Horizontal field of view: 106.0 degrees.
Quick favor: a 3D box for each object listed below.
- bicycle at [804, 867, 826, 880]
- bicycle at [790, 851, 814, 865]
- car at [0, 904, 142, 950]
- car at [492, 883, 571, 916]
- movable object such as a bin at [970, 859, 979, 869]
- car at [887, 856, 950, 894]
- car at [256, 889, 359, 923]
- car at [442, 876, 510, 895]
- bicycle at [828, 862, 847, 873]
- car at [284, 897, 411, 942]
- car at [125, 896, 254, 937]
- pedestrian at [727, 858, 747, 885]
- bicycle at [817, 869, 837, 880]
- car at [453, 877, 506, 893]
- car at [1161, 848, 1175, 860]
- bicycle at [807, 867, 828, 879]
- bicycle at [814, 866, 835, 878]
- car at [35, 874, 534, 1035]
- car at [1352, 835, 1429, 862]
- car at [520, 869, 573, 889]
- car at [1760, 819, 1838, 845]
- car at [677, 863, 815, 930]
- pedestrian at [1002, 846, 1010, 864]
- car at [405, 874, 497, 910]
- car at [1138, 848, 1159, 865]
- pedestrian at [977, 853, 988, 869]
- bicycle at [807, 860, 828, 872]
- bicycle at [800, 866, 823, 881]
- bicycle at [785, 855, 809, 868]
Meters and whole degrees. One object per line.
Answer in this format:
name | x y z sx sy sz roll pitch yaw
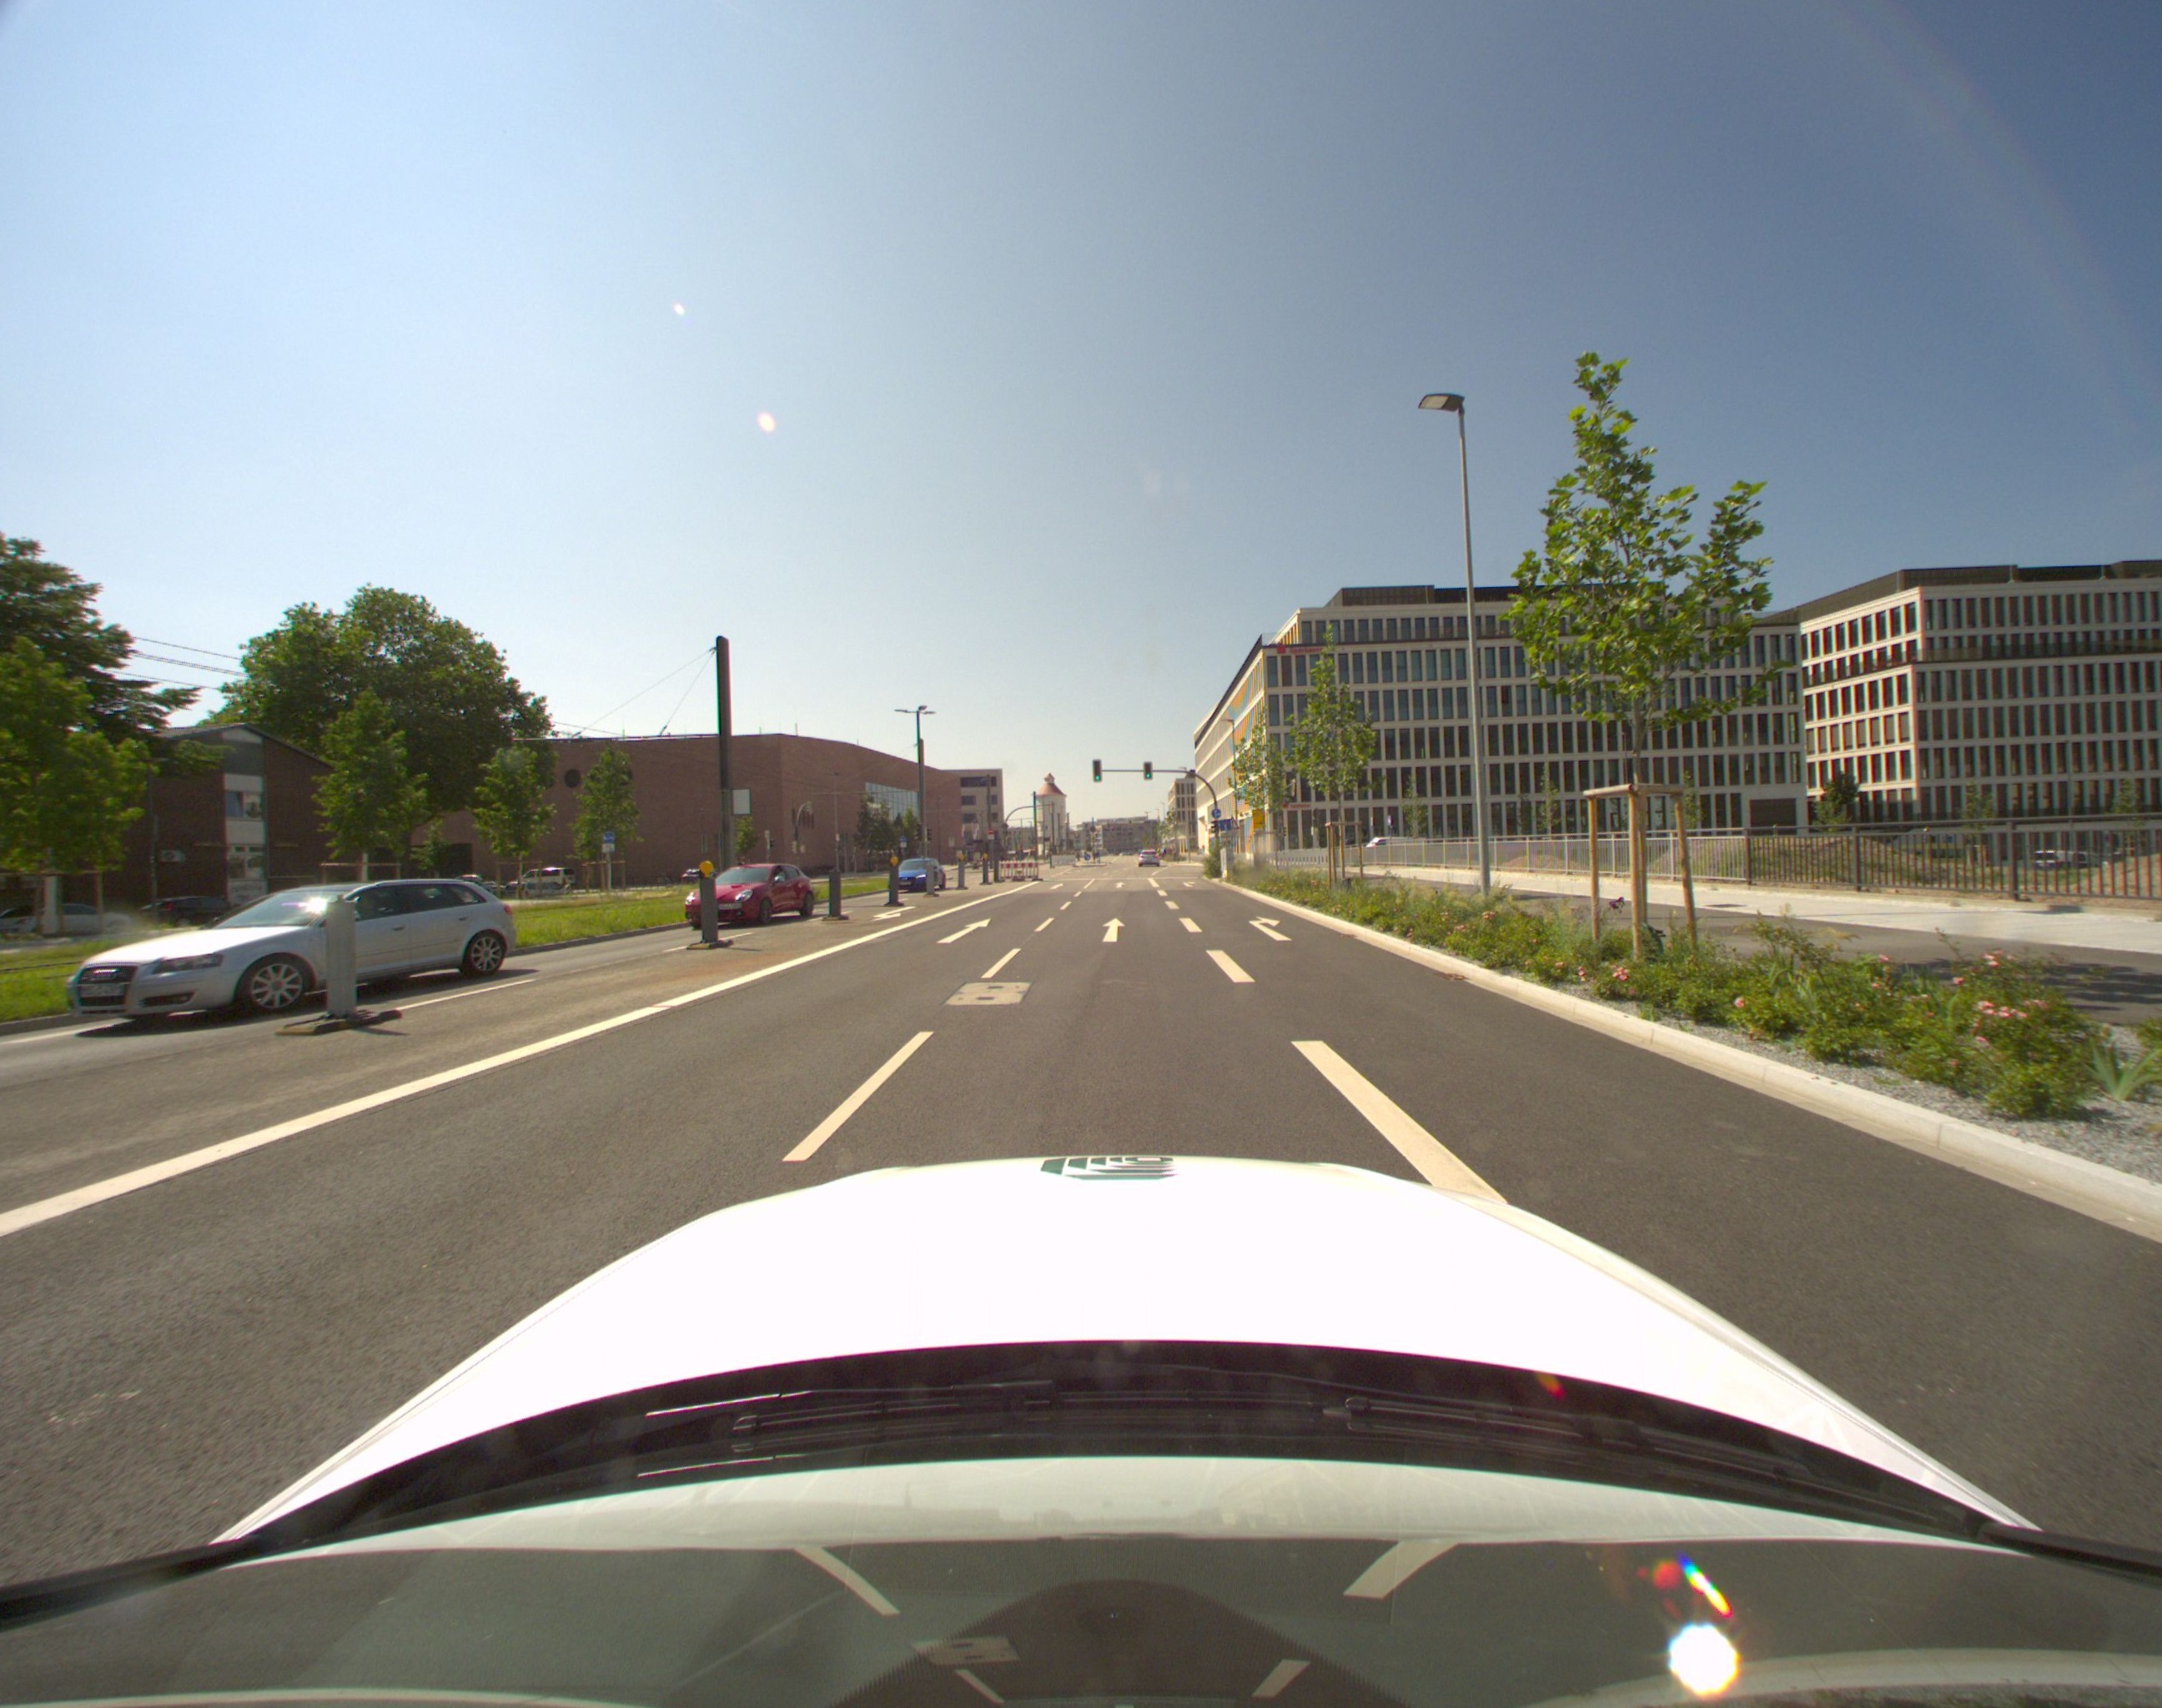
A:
bicycle | -27.304 2.030 83.694 2.049 1.212 0.538 -2 0 -8
bicycle | -27.236 0.385 79.540 2.050 1.212 0.538 -2 0 -9
car | -39.639 2.811 31.805 1.534 1.457 3.786 -2 0 -1
car | -33.373 2.708 49.587 1.691 1.761 4.305 -1 -1 4
movable object such as a bin | -11.092 1.022 85.013 0.716 1.031 0.787 -2 0 -26
car | -7.040 0.868 35.728 1.621 1.427 4.294 -3 0 3
car | -39.717 2.640 41.949 1.532 1.457 3.791 -1 0 3
car | -47.269 2.454 63.655 3.964 1.403 2.005 -1 -1 8
bicycle | -28.968 1.639 96.766 2.049 1.212 0.538 -2 0 -8
car | -34.344 3.042 38.327 1.691 1.761 4.535 -1 -1 4
car | -39.659 2.733 36.379 1.533 1.457 3.788 -1 0 1
pedestrian | -24.222 1.212 57.293 0.807 1.847 1.109 -2 0 6
bicycle | -28.897 2.337 92.745 2.051 1.212 0.538 -2 0 -10
car | -53.557 2.732 72.527 3.483 1.321 1.713 -1 -1 1
car | 11.101 -0.020 103.646 1.727 1.474 3.988 -2 0 7
bicycle | -28.217 2.026 87.196 2.049 1.212 0.538 -2 0 -8
bicycle | -28.050 1.984 89.063 2.049 1.212 0.538 -2 0 -8
car | -9.255 1.039 10.093 1.571 1.416 4.306 -3 0 8
car | 26.536 -0.450 69.886 5.812 2.270 2.148 0 0 3
car | -47.583 2.234 72.555 3.528 1.689 1.695 -1 0 3
car | 47.872 -1.435 54.331 3.666 1.594 1.658 -1 0 3
car | -8.201 0.985 20.352 1.573 1.416 4.002 -3 0 3
pedestrian | -7.715 0.095 83.424 0.649 1.833 0.662 -1 0 7
car | -33.939 2.003 44.021 1.690 1.761 3.944 -1 -1 4
car | 5.925 0.266 71.070 1.763 1.395 3.536 -1 -1 5
pedestrian | -10.340 0.735 85.372 0.934 1.562 0.787 -2 0 -26
bicycle | -27.841 1.264 86.115 2.049 1.212 0.538 -1 0 -8
bicycle | -27.039 1.919 81.770 2.049 1.453 0.538 -2 0 -8
bicycle | -26.849 0.709 77.041 2.049 1.212 0.538 0 0 -8
